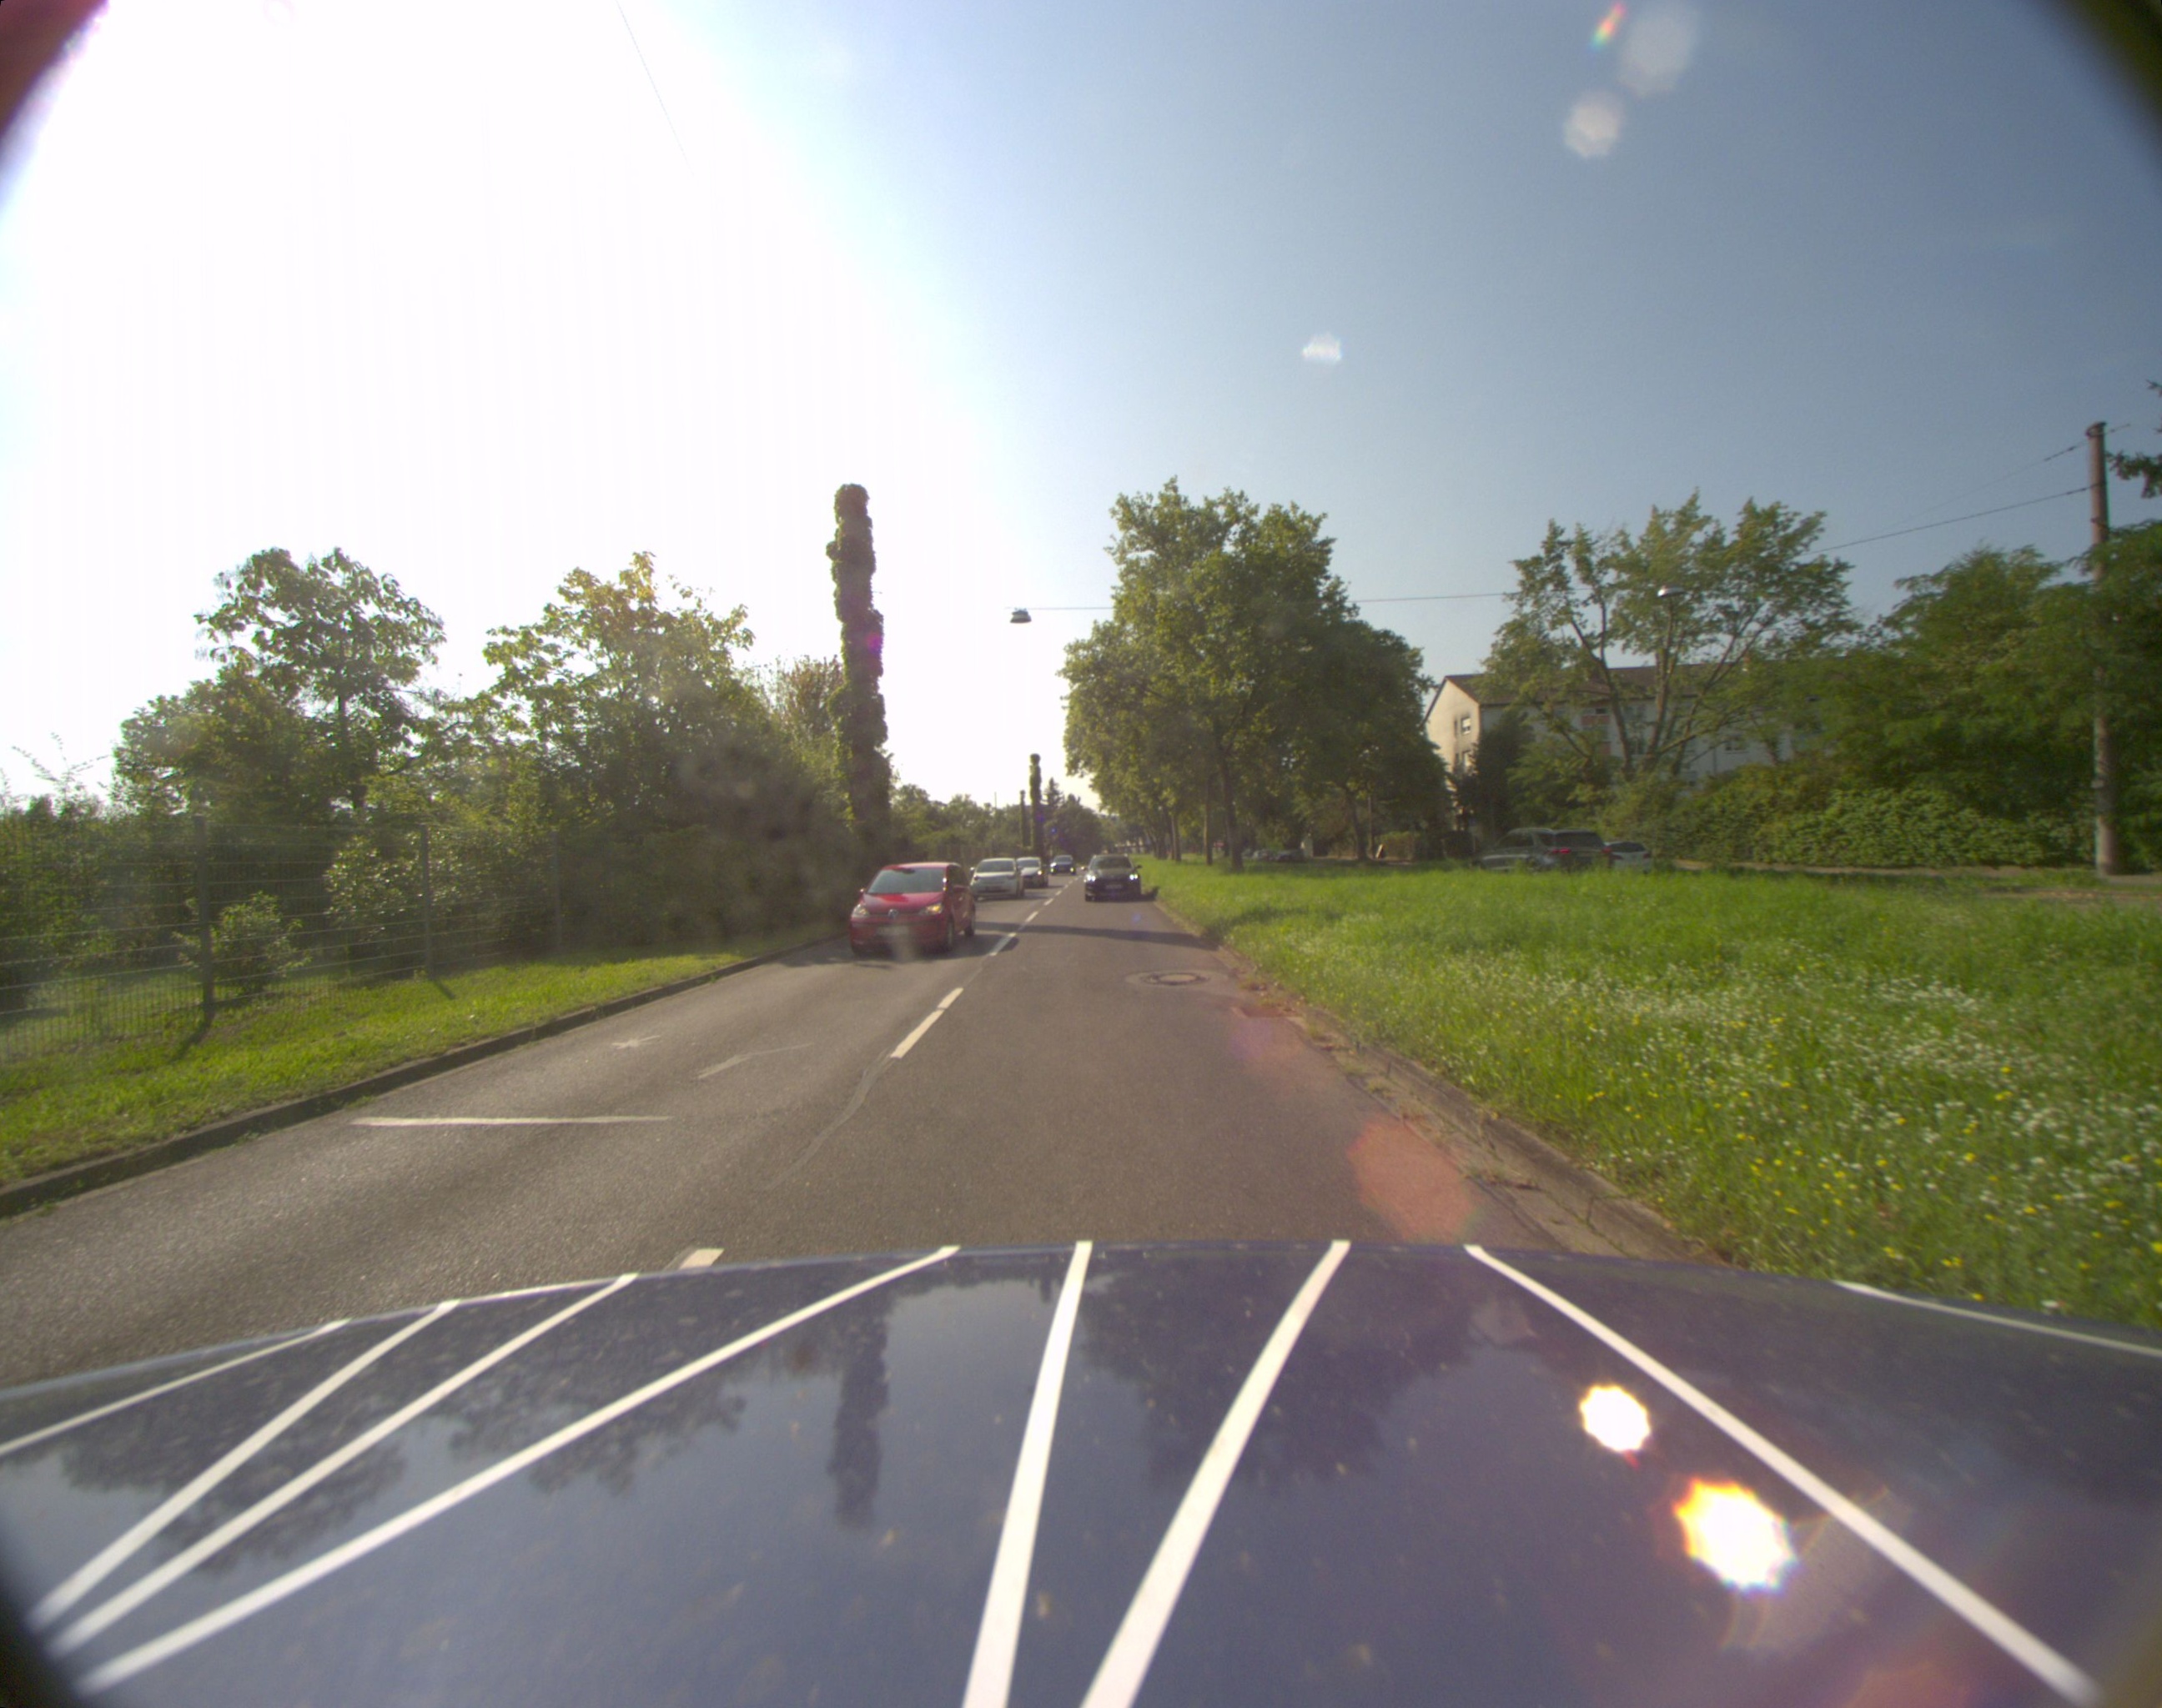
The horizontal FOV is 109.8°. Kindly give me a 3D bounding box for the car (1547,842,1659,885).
[{"bbox_3d":[20.029,0.333,29.354,1.649,1.471,3.898,-3,1,1],"label":"car"}]

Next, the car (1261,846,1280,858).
[{"bbox_3d":[22.405,-0.232,89.927,1.613,1.284,3.523,-3,1,3],"label":"car"}]

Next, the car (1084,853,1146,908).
[{"bbox_3d":[1.100,0.828,25.420,1.862,1.572,3.612,-3,1,1],"label":"car"}]

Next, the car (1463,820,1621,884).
[{"bbox_3d":[13.461,-0.088,22.619,1.779,1.607,4.856,-3,1,1],"label":"car"}]

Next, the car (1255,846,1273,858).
[{"bbox_3d":[22.834,-0.291,94.945,1.613,1.398,3.523,-2,0,3],"label":"car"}]

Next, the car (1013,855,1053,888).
[{"bbox_3d":[-2.337,0.827,37.867,1.649,1.467,3.898,-3,1,1],"label":"car"}]

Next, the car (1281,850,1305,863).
[{"bbox_3d":[21.801,0.239,78.265,1.613,1.284,3.523,-3,1,3],"label":"car"}]

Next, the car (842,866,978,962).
[{"bbox_3d":[-2.918,0.974,13.672,1.579,1.390,3.471,-1,1,1],"label":"car"}]

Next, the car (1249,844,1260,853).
[{"bbox_3d":[33.937,-1.122,148.644,1.648,1.662,3.735,-2,0,7],"label":"car"}]

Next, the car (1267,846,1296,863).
[{"bbox_3d":[18.251,0.023,69.300,1.649,1.471,3.898,-3,1,1],"label":"car"}]

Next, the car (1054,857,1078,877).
[{"bbox_3d":[-1.162,0.977,59.090,1.649,1.378,3.898,-3,1,1],"label":"car"}]

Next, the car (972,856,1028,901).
[{"bbox_3d":[-2.991,0.871,28.861,1.649,1.467,3.898,-3,1,0],"label":"car"}]
